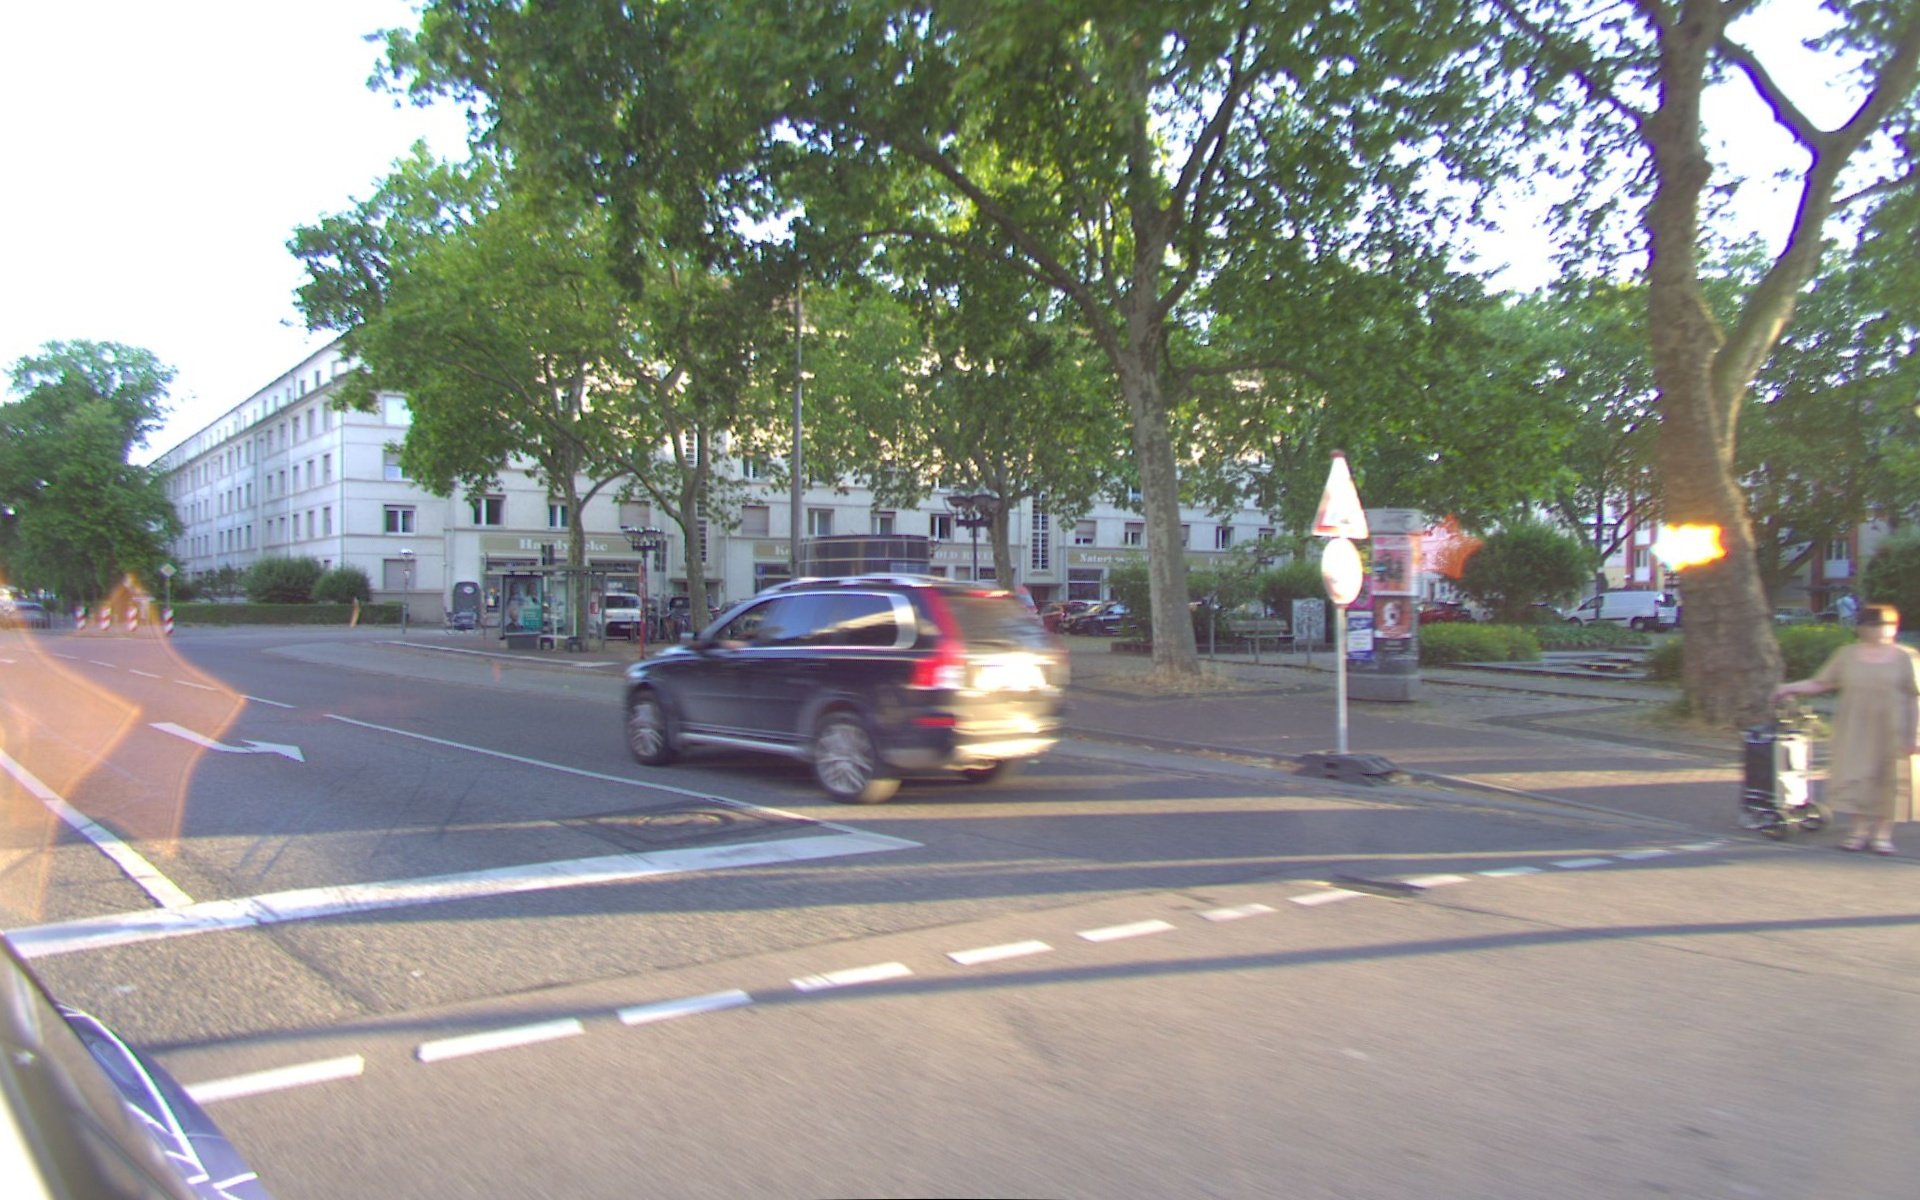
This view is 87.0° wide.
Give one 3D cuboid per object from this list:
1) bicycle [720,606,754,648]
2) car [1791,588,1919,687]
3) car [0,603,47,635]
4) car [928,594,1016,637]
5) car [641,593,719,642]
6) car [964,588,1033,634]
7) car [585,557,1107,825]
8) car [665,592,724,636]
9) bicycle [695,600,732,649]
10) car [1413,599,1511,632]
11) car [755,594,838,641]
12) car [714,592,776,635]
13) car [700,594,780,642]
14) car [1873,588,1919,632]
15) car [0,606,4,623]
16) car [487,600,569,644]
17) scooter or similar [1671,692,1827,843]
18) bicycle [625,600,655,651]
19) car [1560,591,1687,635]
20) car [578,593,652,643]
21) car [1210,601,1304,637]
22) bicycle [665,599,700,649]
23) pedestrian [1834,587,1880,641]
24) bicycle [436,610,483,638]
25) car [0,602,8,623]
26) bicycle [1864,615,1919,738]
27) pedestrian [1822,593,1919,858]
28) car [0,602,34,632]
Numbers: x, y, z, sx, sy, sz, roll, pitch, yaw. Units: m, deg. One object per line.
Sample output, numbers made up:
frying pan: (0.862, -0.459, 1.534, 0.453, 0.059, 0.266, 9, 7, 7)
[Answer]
bicycle: (-7.976, 0.942, 36.095, 0.680, 1.394, 2.754, 0, 1, -23)
car: (18.491, 0.698, 18.525, 1.965, 1.795, 4.656, 1, -2, -23)
car: (-52.034, 1.027, 56.243, 1.866, 1.612, 4.004, -1, 1, -43)
car: (0.463, 0.752, 45.152, 1.965, 1.795, 4.655, 1, -2, -28)
car: (-11.038, 0.738, 39.690, 1.965, 1.795, 4.655, 1, -2, -28)
car: (2.159, 0.592, 58.430, 1.965, 2.460, 4.656, 1, 1, -25)
car: (-1.238, 0.649, 9.133, 4.795, 1.798, 1.973, -1, -2, 41)
car: (-13.214, 0.647, 50.107, 1.965, 1.970, 4.656, 1, 1, -25)
bicycle: (-8.695, 0.824, 35.592, 0.795, 1.626, 2.754, 0, 1, -23)
car: (28.824, 0.915, 58.235, 1.967, 1.824, 4.659, 2, -3, -37)
car: (-6.795, 0.766, 41.605, 1.965, 1.795, 4.655, 1, -2, -28)
car: (-10.905, 0.629, 51.066, 1.965, 1.970, 4.656, 1, 1, -25)
car: (-8.867, 0.765, 40.558, 1.965, 1.795, 4.655, 1, -2, -28)
car: (46.548, 0.450, 49.139, 3.931, 2.029, 2.007, 0, 1, -27)
car: (-97.123, 1.448, 101.398, 1.866, 1.612, 4.264, -1, 1, -43)
car: (-16.036, 0.847, 37.448, 1.966, 1.515, 4.653, 2, -3, -34)
scooter or similar: (5.636, 1.166, 7.269, 0.850, 0.904, 0.585, 1, 1, 37)
bicycle: (-10.837, 0.821, 34.184, 0.680, 1.626, 2.754, 0, 1, -23)
car: (31.335, 0.660, 47.956, 1.965, 1.953, 4.655, 1, -2, -28)
car: (-13.106, 0.723, 38.267, 1.965, 1.795, 4.655, 1, -2, -28)
car: (15.204, 1.003, 52.061, 1.965, 1.748, 4.655, 1, -2, -28)
bicycle: (-9.643, 0.805, 35.092, 0.795, 1.626, 2.754, 0, 1, -23)
pedestrian: (28.824, 0.439, 32.523, 0.728, 1.684, 0.889, 0, 1, -26)
bicycle: (-21.903, 1.042, 44.319, 1.776, 1.215, 0.649, 0, 1, -15)
car: (-90.256, 1.199, 94.566, 1.866, 1.879, 4.264, -1, 1, -43)
bicycle: (11.139, 0.855, 10.943, 0.519, 1.336, 1.996, -1, 1, -43)
pedestrian: (6.192, 0.781, 6.622, 0.772, 1.640, 0.794, 1, 1, 37)
car: (-57.817, 1.017, 61.768, 1.866, 1.703, 4.264, -1, 1, -43)
